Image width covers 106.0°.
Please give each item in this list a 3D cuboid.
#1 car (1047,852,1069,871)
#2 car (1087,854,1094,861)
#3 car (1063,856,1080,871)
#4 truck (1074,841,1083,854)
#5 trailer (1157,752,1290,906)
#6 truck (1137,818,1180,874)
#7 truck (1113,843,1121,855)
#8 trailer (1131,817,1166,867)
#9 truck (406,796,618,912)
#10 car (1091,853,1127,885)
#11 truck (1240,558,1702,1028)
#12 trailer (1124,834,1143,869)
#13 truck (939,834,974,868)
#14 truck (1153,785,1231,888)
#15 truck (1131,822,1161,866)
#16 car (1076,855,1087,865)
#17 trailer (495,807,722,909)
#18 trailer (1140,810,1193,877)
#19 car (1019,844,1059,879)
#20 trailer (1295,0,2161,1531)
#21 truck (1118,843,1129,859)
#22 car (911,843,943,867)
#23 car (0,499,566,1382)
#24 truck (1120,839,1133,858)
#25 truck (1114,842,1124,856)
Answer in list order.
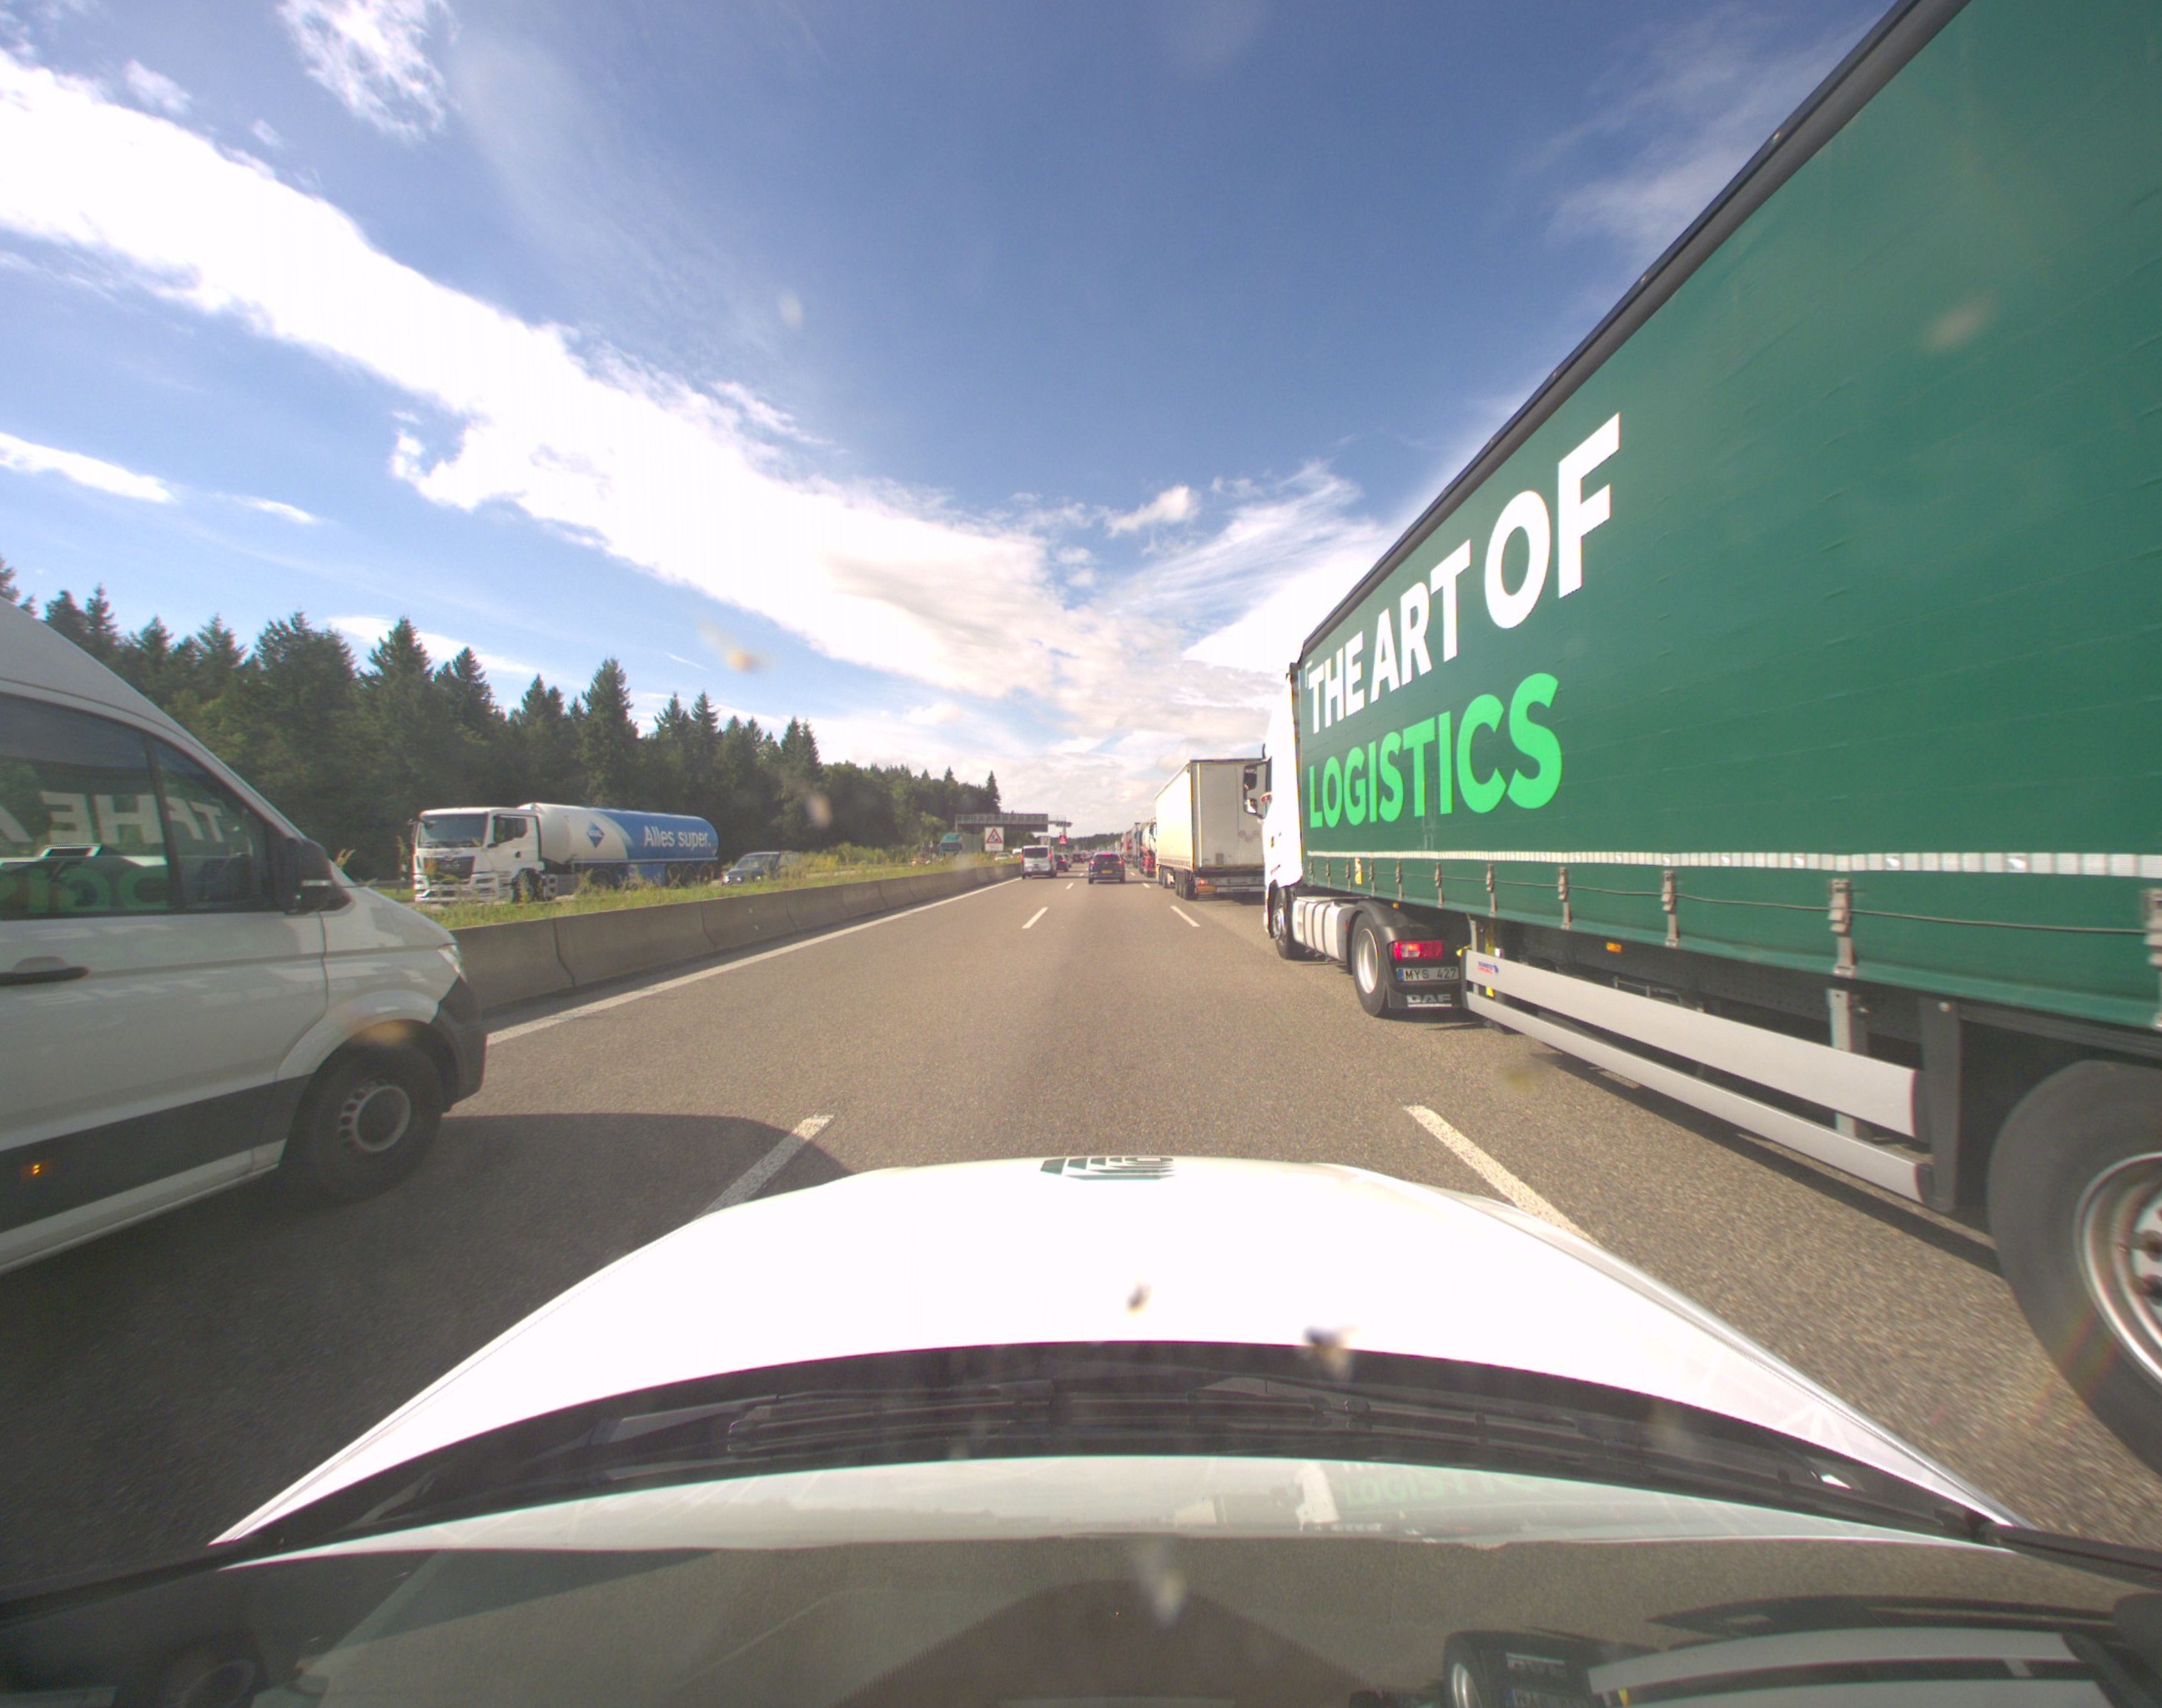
[{"bbox_3d":[-1.780,0.546,63.998,1.494,1.396,3.477,-2,0,2],"label":"car"},{"bbox_3d":[1.968,0.653,163.314,1.356,1.301,3.086,2,0,2],"label":"car"},{"bbox_3d":[-0.961,0.972,82.746,1.494,1.396,3.477,2,0,2],"label":"car"},{"bbox_3d":[-0.855,-1.918,242.823,2.335,3.594,6.308,2,0,2],"label":"truck"},{"bbox_3d":[4.430,-0.684,28.291,2.692,4.082,12.950,-1,0,2],"label":"trailer"},{"bbox_3d":[5.334,-0.512,56.768,2.524,3.584,6.732,-1,0,2],"label":"truck"},{"bbox_3d":[9.896,-1.295,222.698,1.986,3.052,4.984,2,0,2],"label":"truck"},{"bbox_3d":[6.124,-0.986,75.466,2.791,4.244,11.063,-1,0,3],"label":"trailer"},{"bbox_3d":[-17.792,-0.001,26.046,2.308,3.273,6.108,-1,0,2],"label":"truck"},{"bbox_3d":[1.374,0.686,40.550,1.690,1.483,4.162,0,0,2],"label":"car"},{"bbox_3d":[3.895,-0.489,10.233,2.637,3.869,6.999,0,0,2],"label":"truck"},{"bbox_3d":[6.605,-0.295,102.497,2.141,4.259,8.445,0,0,2],"label":"trailer"},{"bbox_3d":[-16.104,-0.347,105.867,2.701,4.244,10.346,-1,0,1],"label":"truck"},{"bbox_3d":[4.687,-0.673,35.615,2.698,4.060,6.364,-1,0,2],"label":"truck"},{"bbox_3d":[6.465,-0.954,82.208,2.774,4.247,6.464,-1,0,3],"label":"truck"},{"bbox_3d":[0.124,0.807,113.248,1.429,1.310,3.534,2,0,1],"label":"car"},{"bbox_3d":[-17.667,0.118,31.770,2.313,3.284,10.878,-1,0,1],"label":"trailer"},{"bbox_3d":[5.076,-0.571,50.134,2.531,3.654,10.631,-1,0,2],"label":"trailer"},{"bbox_3d":[-2.540,0.473,50.177,1.925,1.979,5.100,2,0,2],"label":"car"},{"bbox_3d":[3.630,-0.512,2.883,2.651,3.869,13.400,0,0,2],"label":"trailer"},{"bbox_3d":[7.925,-0.513,152.399,1.986,2.932,4.984,2,0,2],"label":"truck"},{"bbox_3d":[-12.956,0.079,68.679,1.753,1.882,4.002,2,0,2],"label":"car"},{"bbox_3d":[-4.208,0.271,1.786,2.007,2.599,6.185,-1,0,2],"label":"car"},{"bbox_3d":[7.442,-0.868,133.172,1.986,2.932,4.984,2,0,2],"label":"truck"},{"bbox_3d":[8.335,-1.108,179.107,1.986,3.052,4.984,2,0,2],"label":"truck"}]
